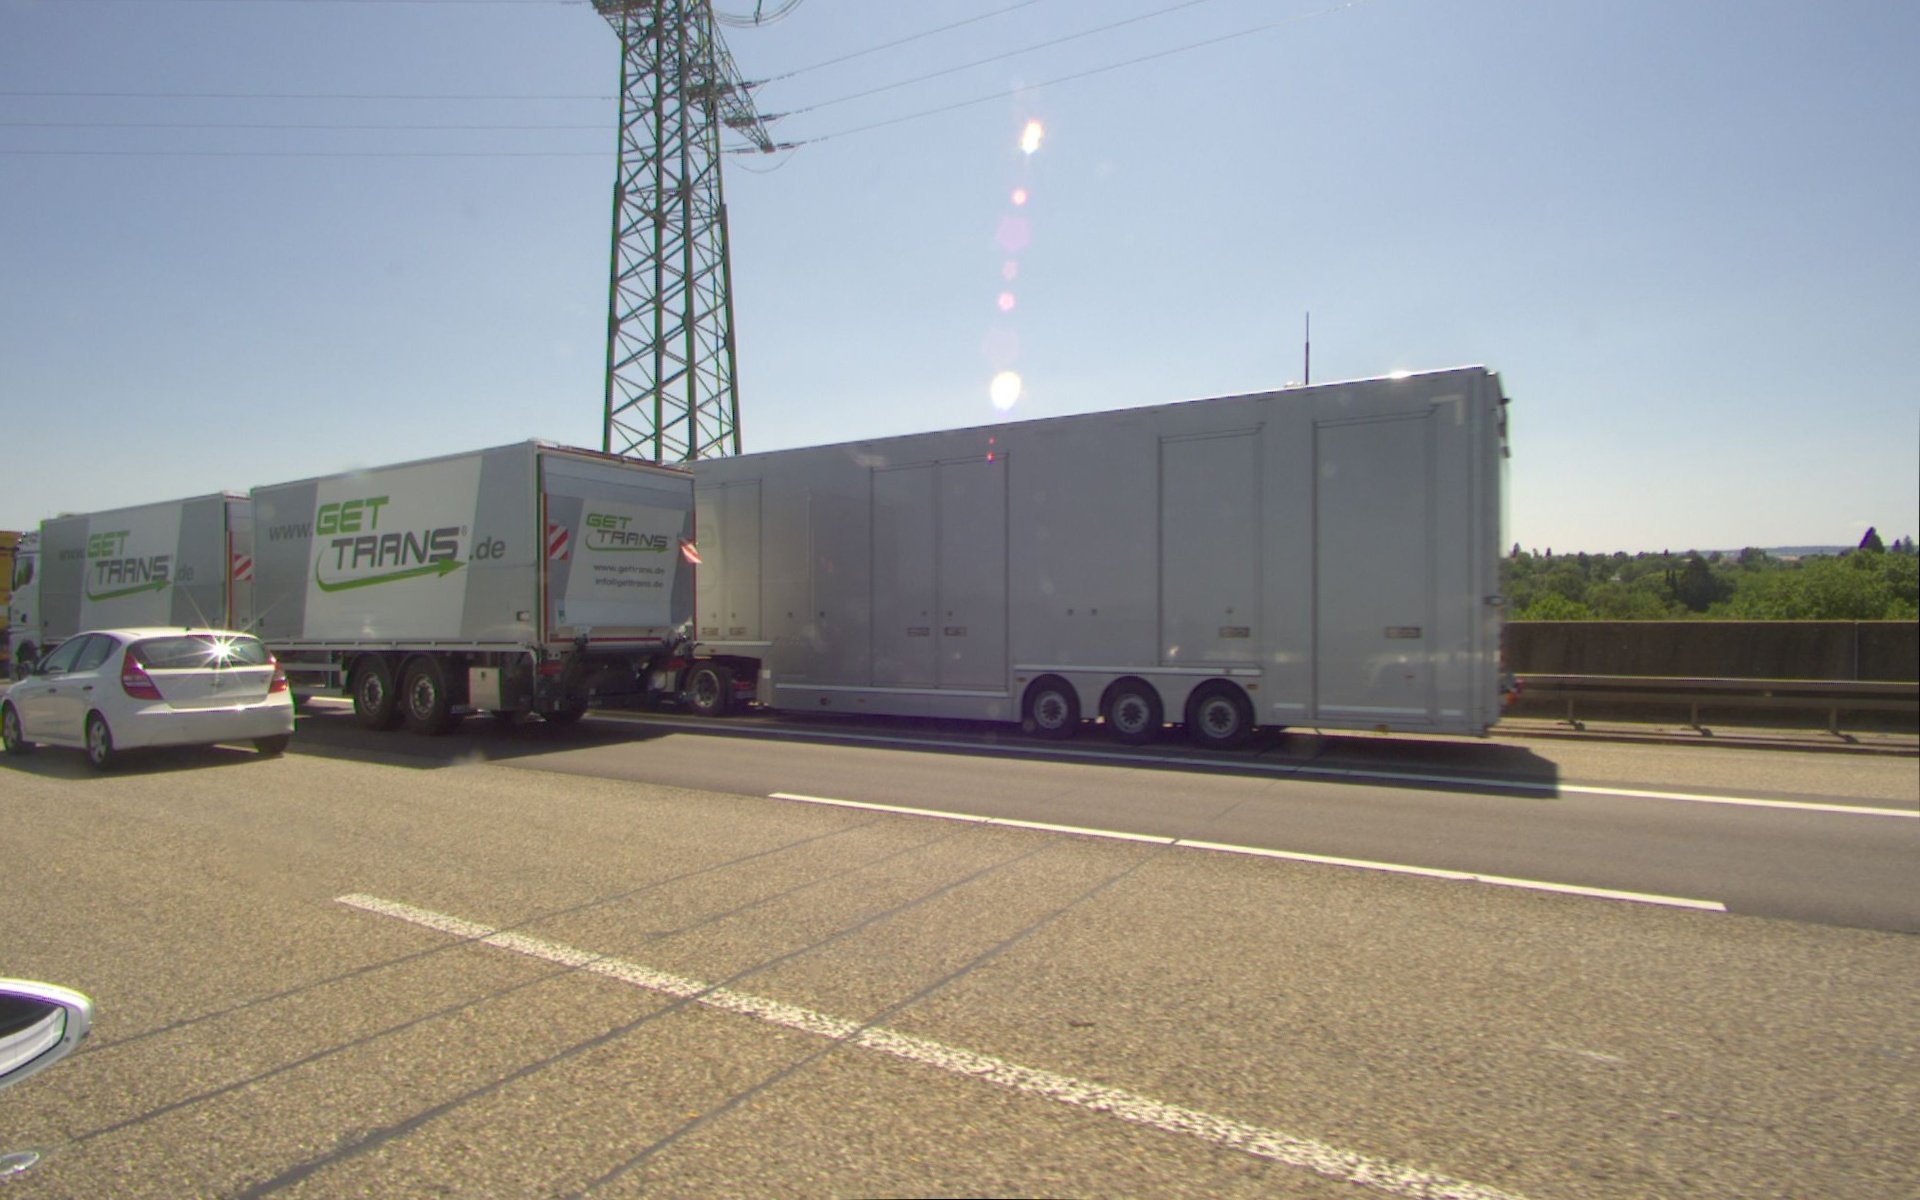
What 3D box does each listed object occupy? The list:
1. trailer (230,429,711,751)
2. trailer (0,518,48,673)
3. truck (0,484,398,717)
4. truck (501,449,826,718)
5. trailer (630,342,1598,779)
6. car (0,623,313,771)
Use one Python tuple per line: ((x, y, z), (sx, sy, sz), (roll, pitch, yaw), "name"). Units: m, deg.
((-7.526, -0.057, 14.920), (7.899, 3.748, 2.693), (-1, 0, 32), "trailer")
((-30.509, -0.061, 29.685), (8.883, 4.293, 2.860), (-1, -2, 32), "trailer")
((-15.477, 0.084, 19.915), (10.852, 3.695, 2.652), (-1, -1, 32), "truck")
((-5.423, -0.182, 18.105), (5.633, 4.172, 2.513), (-1, -2, 32), "truck")
((0.941, -0.249, 14.204), (13.573, 4.172, 2.532), (-1, -2, 32), "trailer")
((-9.705, 1.014, 11.916), (4.232, 1.474, 1.785), (-1, -1, 32), "car")
